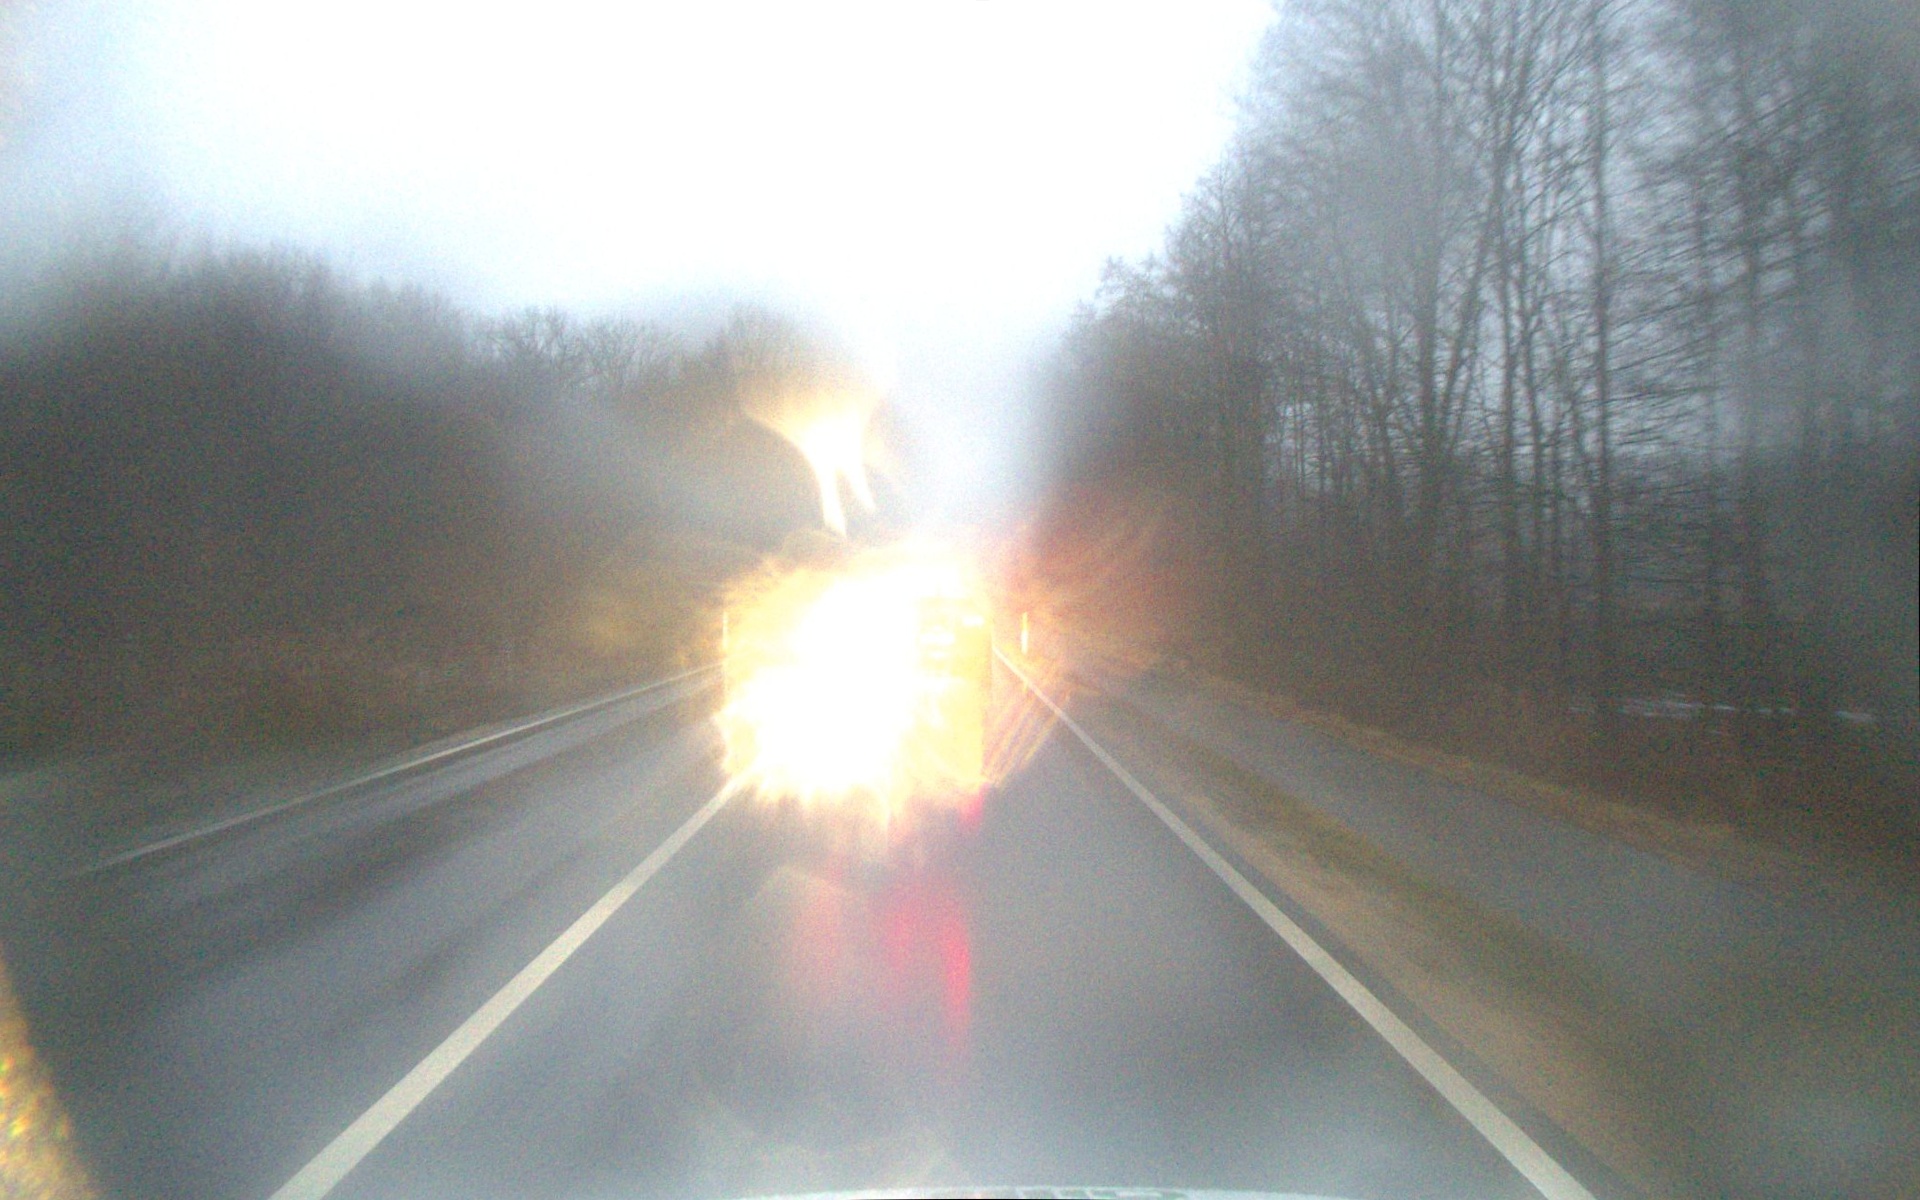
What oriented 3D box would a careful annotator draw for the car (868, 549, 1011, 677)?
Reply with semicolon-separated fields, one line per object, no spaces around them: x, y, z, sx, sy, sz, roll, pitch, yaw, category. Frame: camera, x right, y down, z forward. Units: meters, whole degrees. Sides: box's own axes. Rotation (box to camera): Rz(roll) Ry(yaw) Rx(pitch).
-0.366;0.165;27.759;2.153;1.910;4.826;1;1;-1;car

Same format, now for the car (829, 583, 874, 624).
-4.376;0.122;67.178;1.713;1.579;3.992;0;1;-2;car
